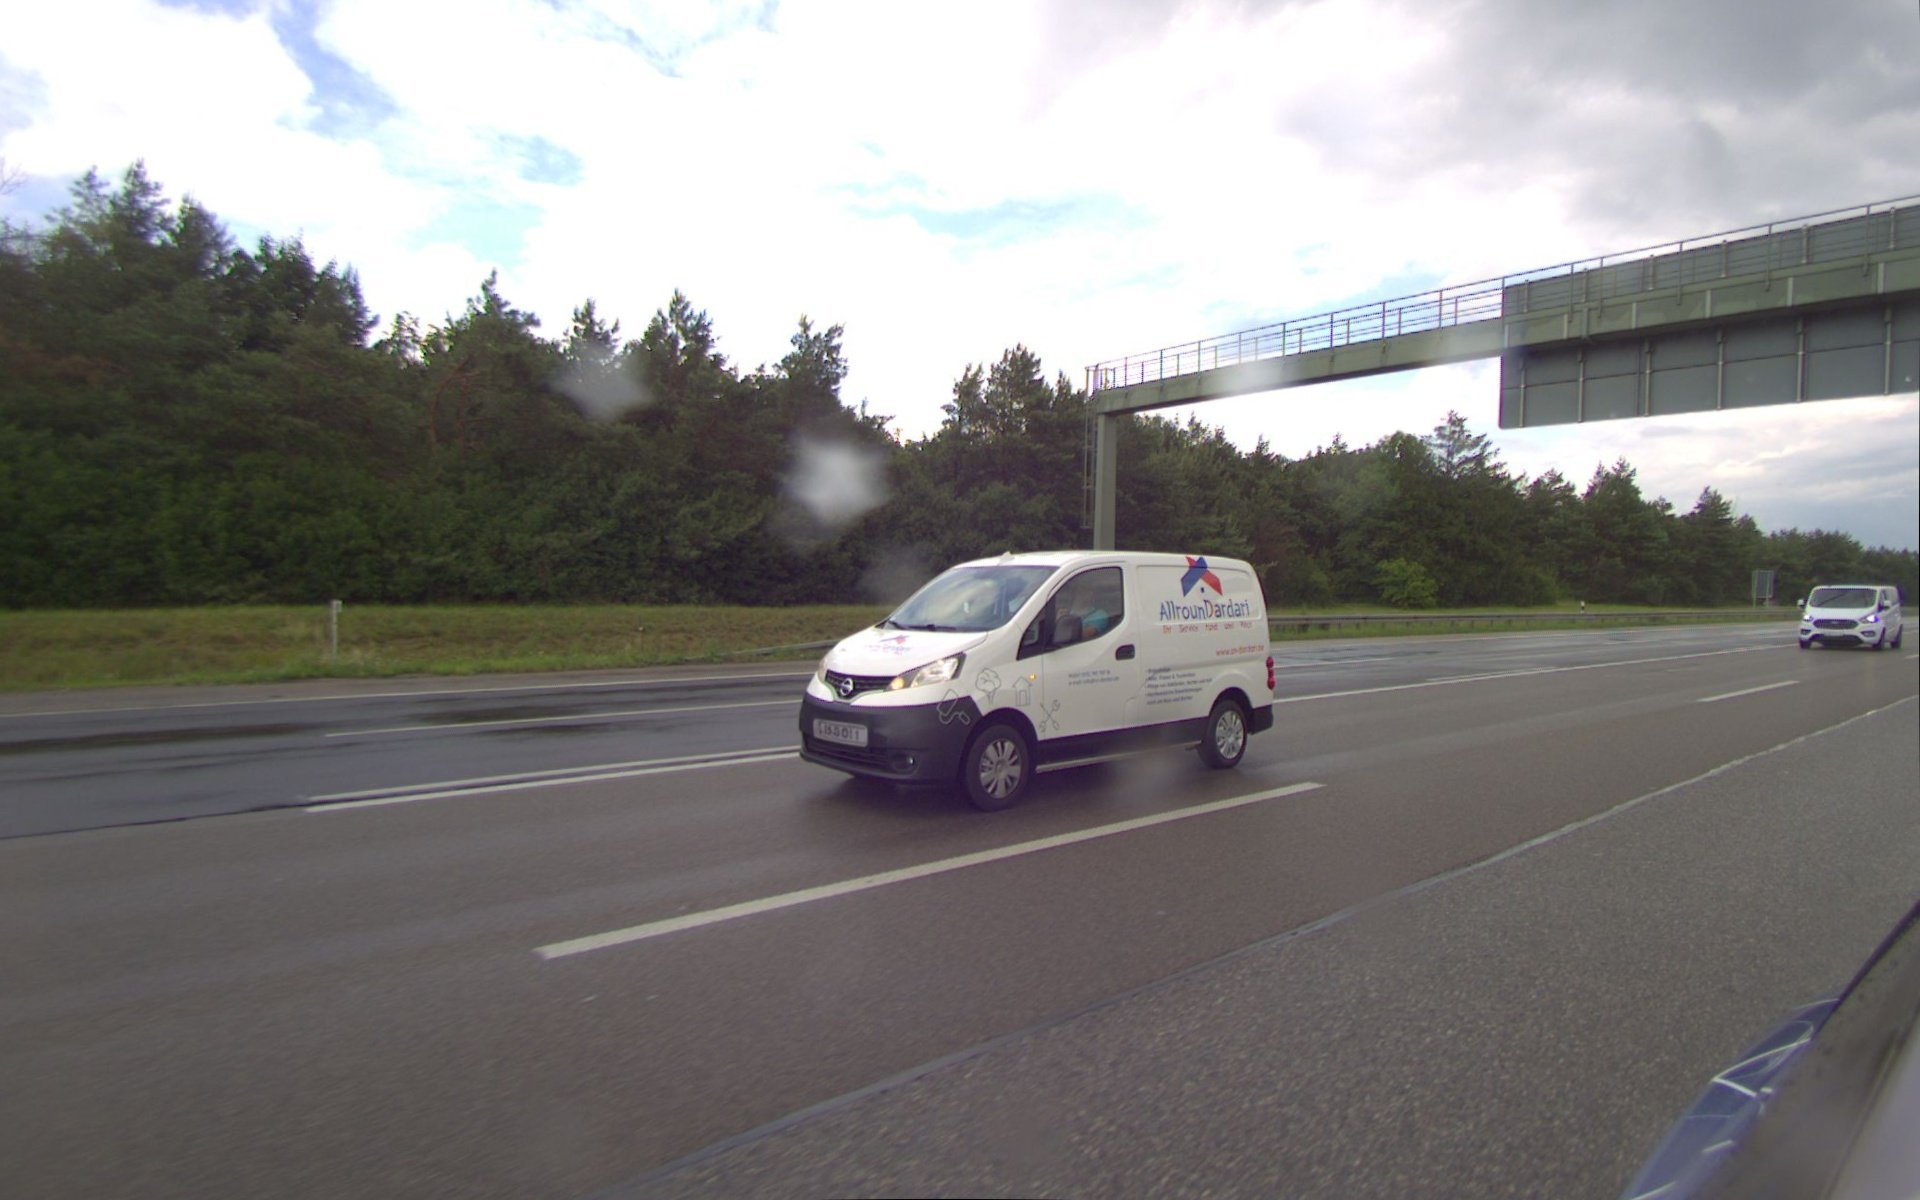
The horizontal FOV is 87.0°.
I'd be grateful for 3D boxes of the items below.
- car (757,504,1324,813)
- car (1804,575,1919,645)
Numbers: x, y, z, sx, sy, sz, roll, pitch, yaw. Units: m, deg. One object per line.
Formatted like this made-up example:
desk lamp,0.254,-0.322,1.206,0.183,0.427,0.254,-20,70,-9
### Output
car,0.899,0.343,8.592,4.794,1.925,1.968,0,1,-40
car,28.701,0.293,31.999,5.381,2.039,1.999,0,0,-38
